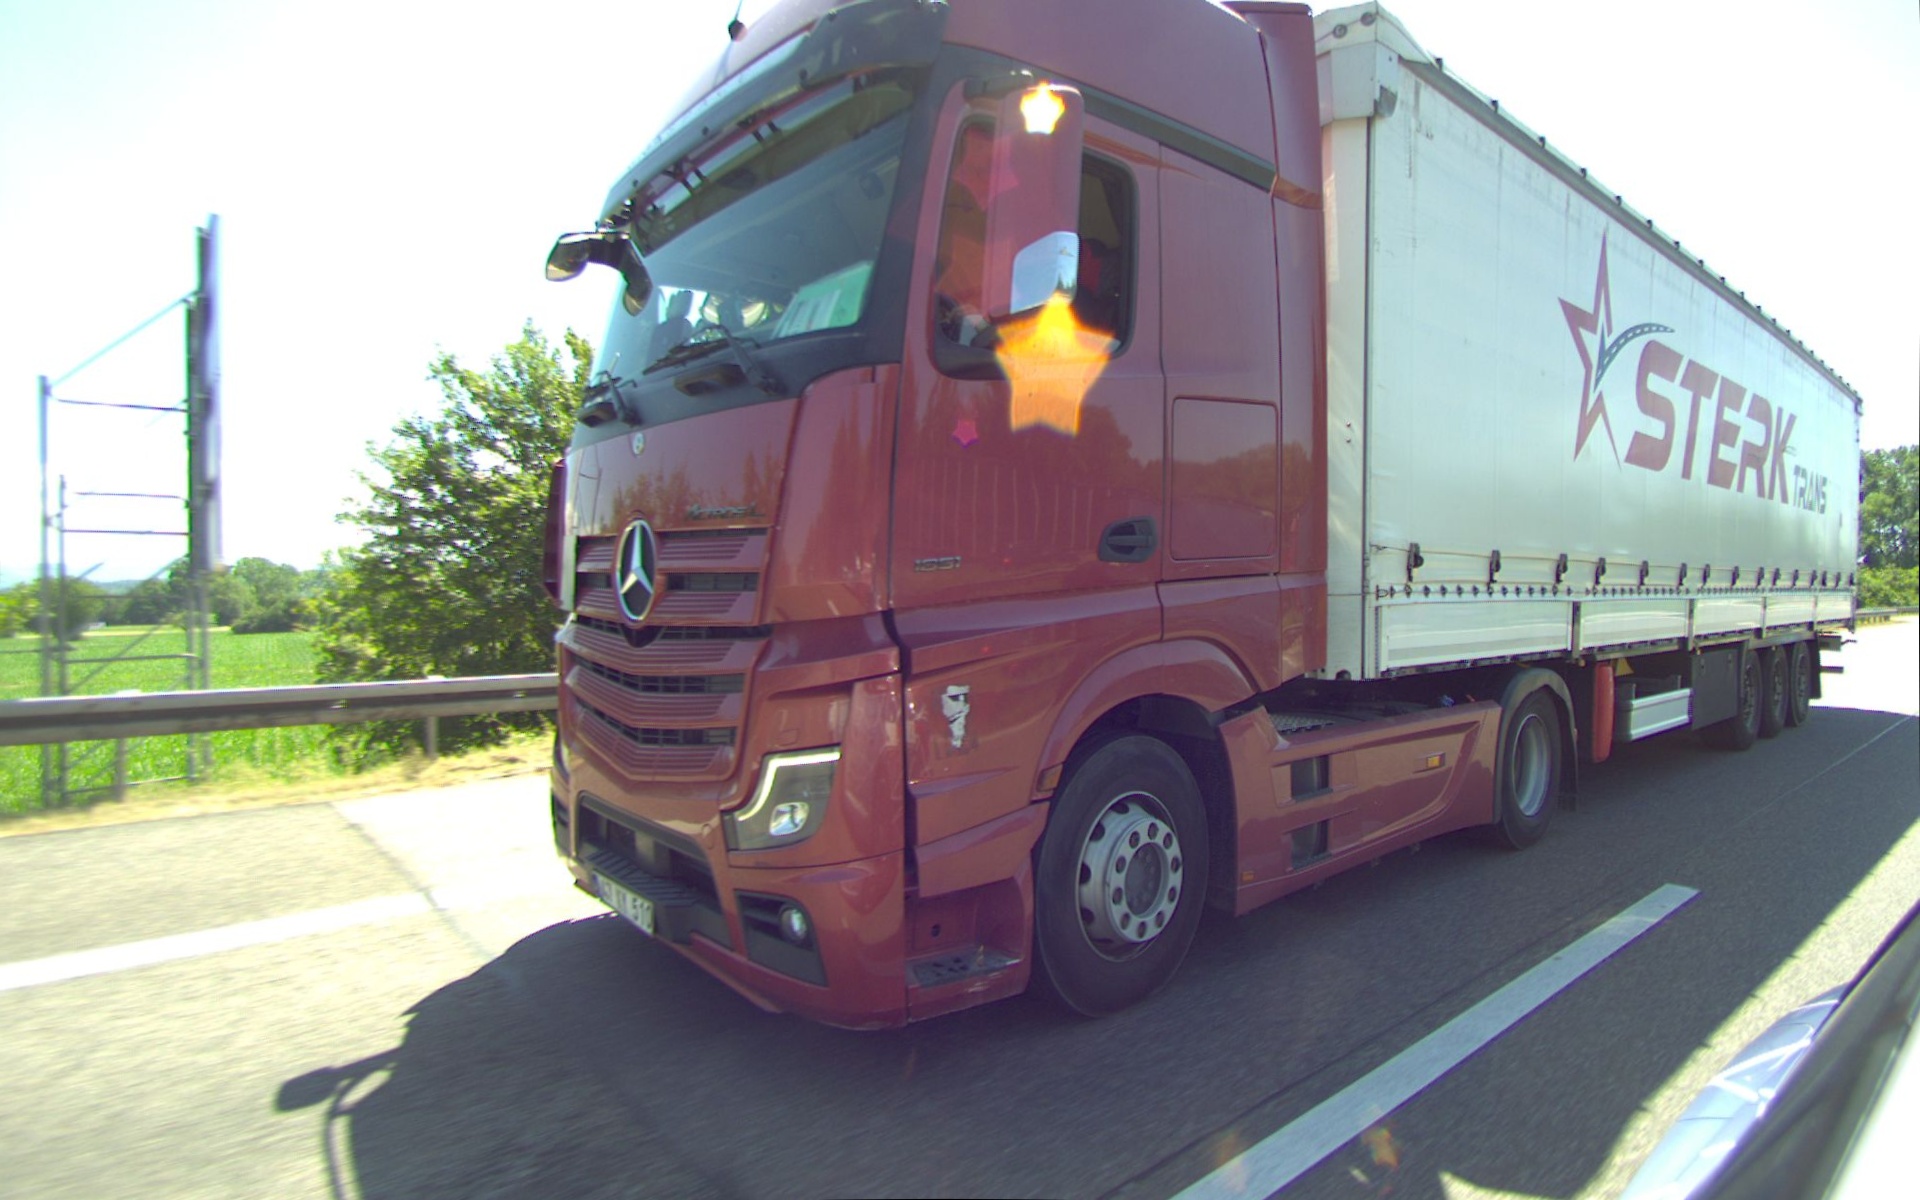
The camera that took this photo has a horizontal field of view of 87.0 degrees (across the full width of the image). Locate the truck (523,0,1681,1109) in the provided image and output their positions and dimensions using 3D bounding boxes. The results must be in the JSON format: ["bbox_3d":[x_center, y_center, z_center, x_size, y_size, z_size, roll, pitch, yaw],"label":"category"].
[{"bbox_3d":[1.457,-0.812,5.831,6.840,4.140,2.713,-1,0,-39],"label":"truck"}]

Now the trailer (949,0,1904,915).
[{"bbox_3d":[6.111,-0.841,9.750,13.900,4.140,2.712,-1,0,-40],"label":"trailer"}]
